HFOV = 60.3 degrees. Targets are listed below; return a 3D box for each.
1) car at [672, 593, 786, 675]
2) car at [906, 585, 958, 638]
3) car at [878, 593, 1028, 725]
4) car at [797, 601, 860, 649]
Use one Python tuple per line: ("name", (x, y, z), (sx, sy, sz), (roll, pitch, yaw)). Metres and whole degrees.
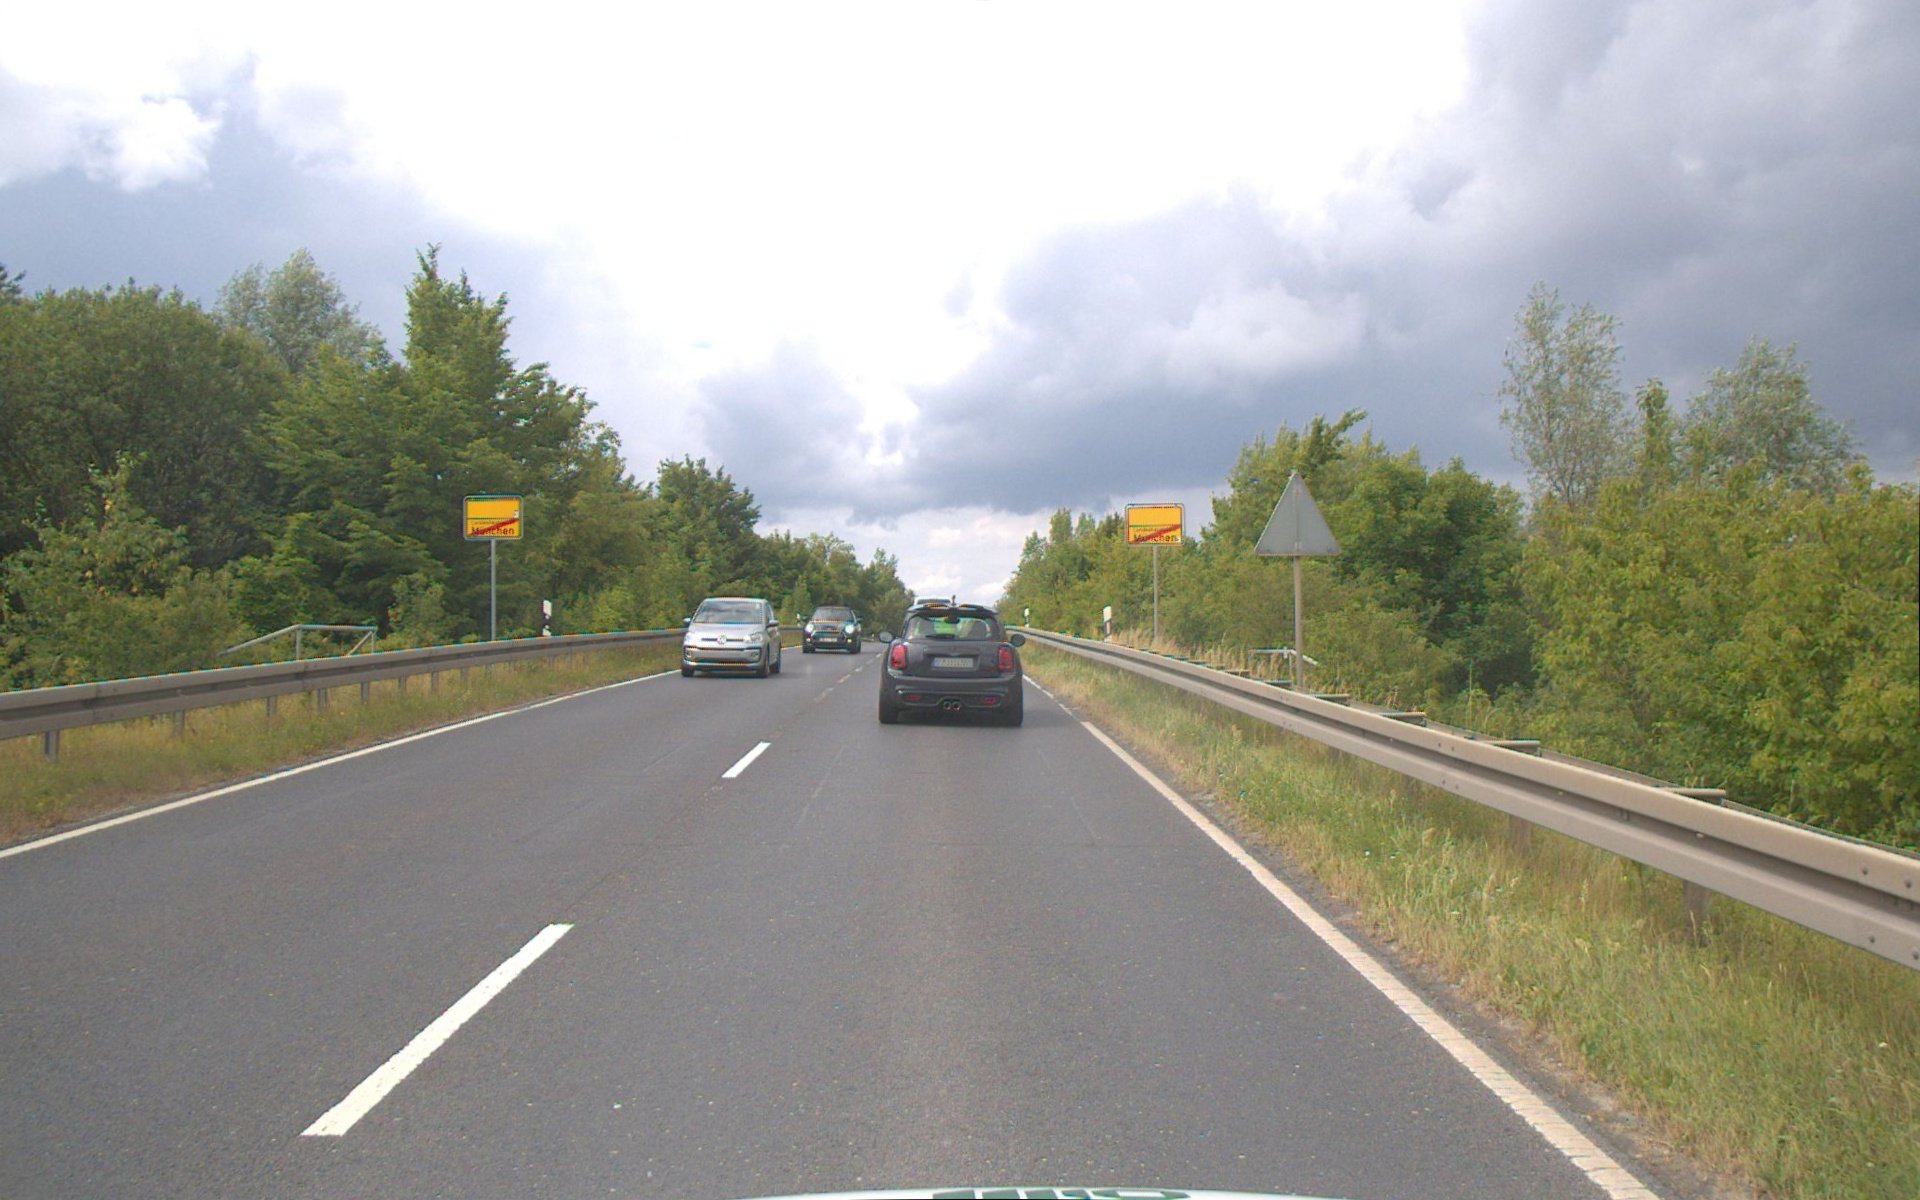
("car", (-4.419, 0.629, 32.196), (1.798, 1.470, 3.998), (1, 0, -3))
("car", (-1.088, 0.469, 65.655), (1.981, 2.049, 4.000), (0, -1, 0))
("car", (-0.069, 0.679, 20.978), (1.696, 1.481, 4.000), (1, 0, 0))
("car", (-4.071, 0.754, 51.755), (1.798, 1.445, 3.998), (1, 0, -2))
